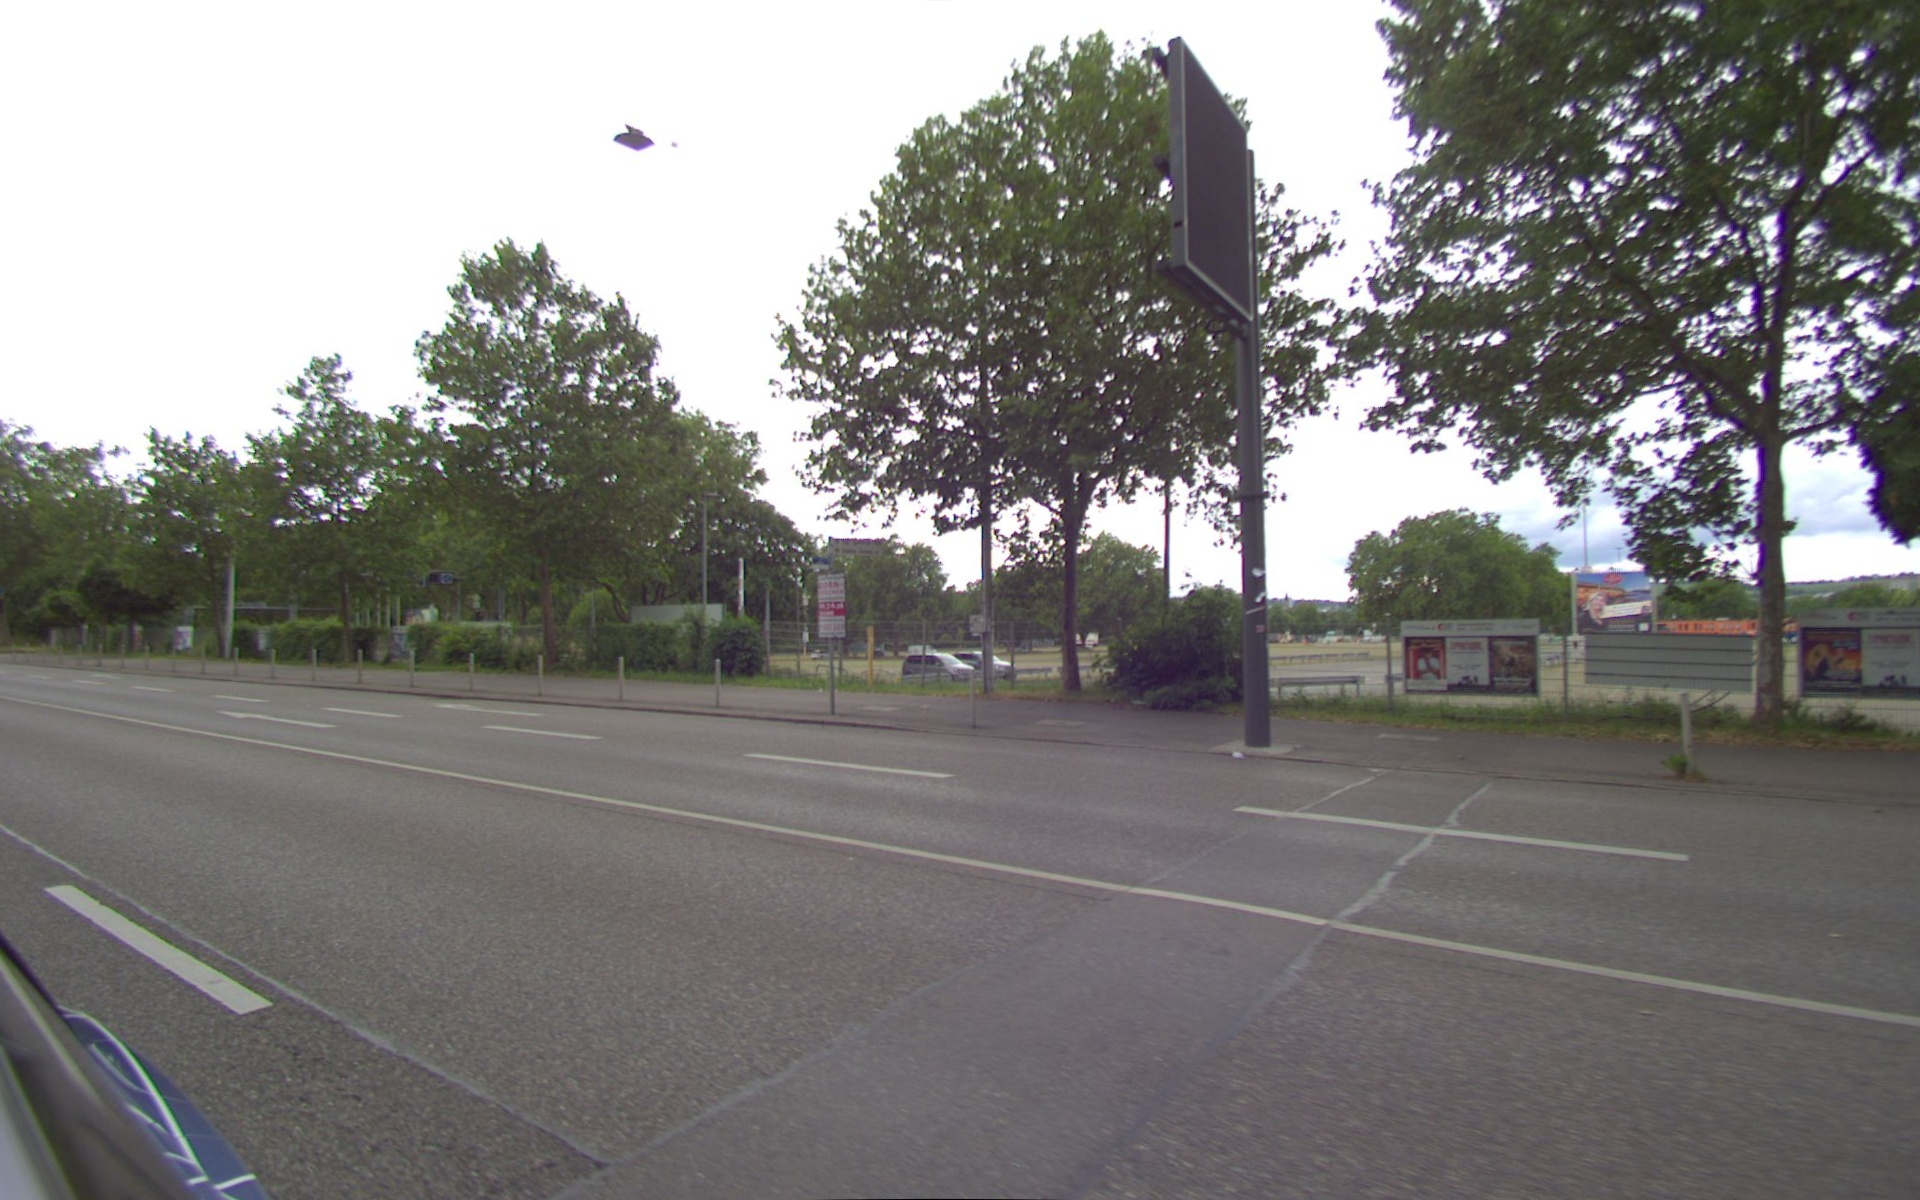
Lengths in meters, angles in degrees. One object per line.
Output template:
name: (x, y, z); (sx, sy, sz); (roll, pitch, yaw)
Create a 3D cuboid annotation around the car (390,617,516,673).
car: (-19.652, 1.731, 39.217); (4.622, 2.029, 2.367); (-1, -2, 33)
